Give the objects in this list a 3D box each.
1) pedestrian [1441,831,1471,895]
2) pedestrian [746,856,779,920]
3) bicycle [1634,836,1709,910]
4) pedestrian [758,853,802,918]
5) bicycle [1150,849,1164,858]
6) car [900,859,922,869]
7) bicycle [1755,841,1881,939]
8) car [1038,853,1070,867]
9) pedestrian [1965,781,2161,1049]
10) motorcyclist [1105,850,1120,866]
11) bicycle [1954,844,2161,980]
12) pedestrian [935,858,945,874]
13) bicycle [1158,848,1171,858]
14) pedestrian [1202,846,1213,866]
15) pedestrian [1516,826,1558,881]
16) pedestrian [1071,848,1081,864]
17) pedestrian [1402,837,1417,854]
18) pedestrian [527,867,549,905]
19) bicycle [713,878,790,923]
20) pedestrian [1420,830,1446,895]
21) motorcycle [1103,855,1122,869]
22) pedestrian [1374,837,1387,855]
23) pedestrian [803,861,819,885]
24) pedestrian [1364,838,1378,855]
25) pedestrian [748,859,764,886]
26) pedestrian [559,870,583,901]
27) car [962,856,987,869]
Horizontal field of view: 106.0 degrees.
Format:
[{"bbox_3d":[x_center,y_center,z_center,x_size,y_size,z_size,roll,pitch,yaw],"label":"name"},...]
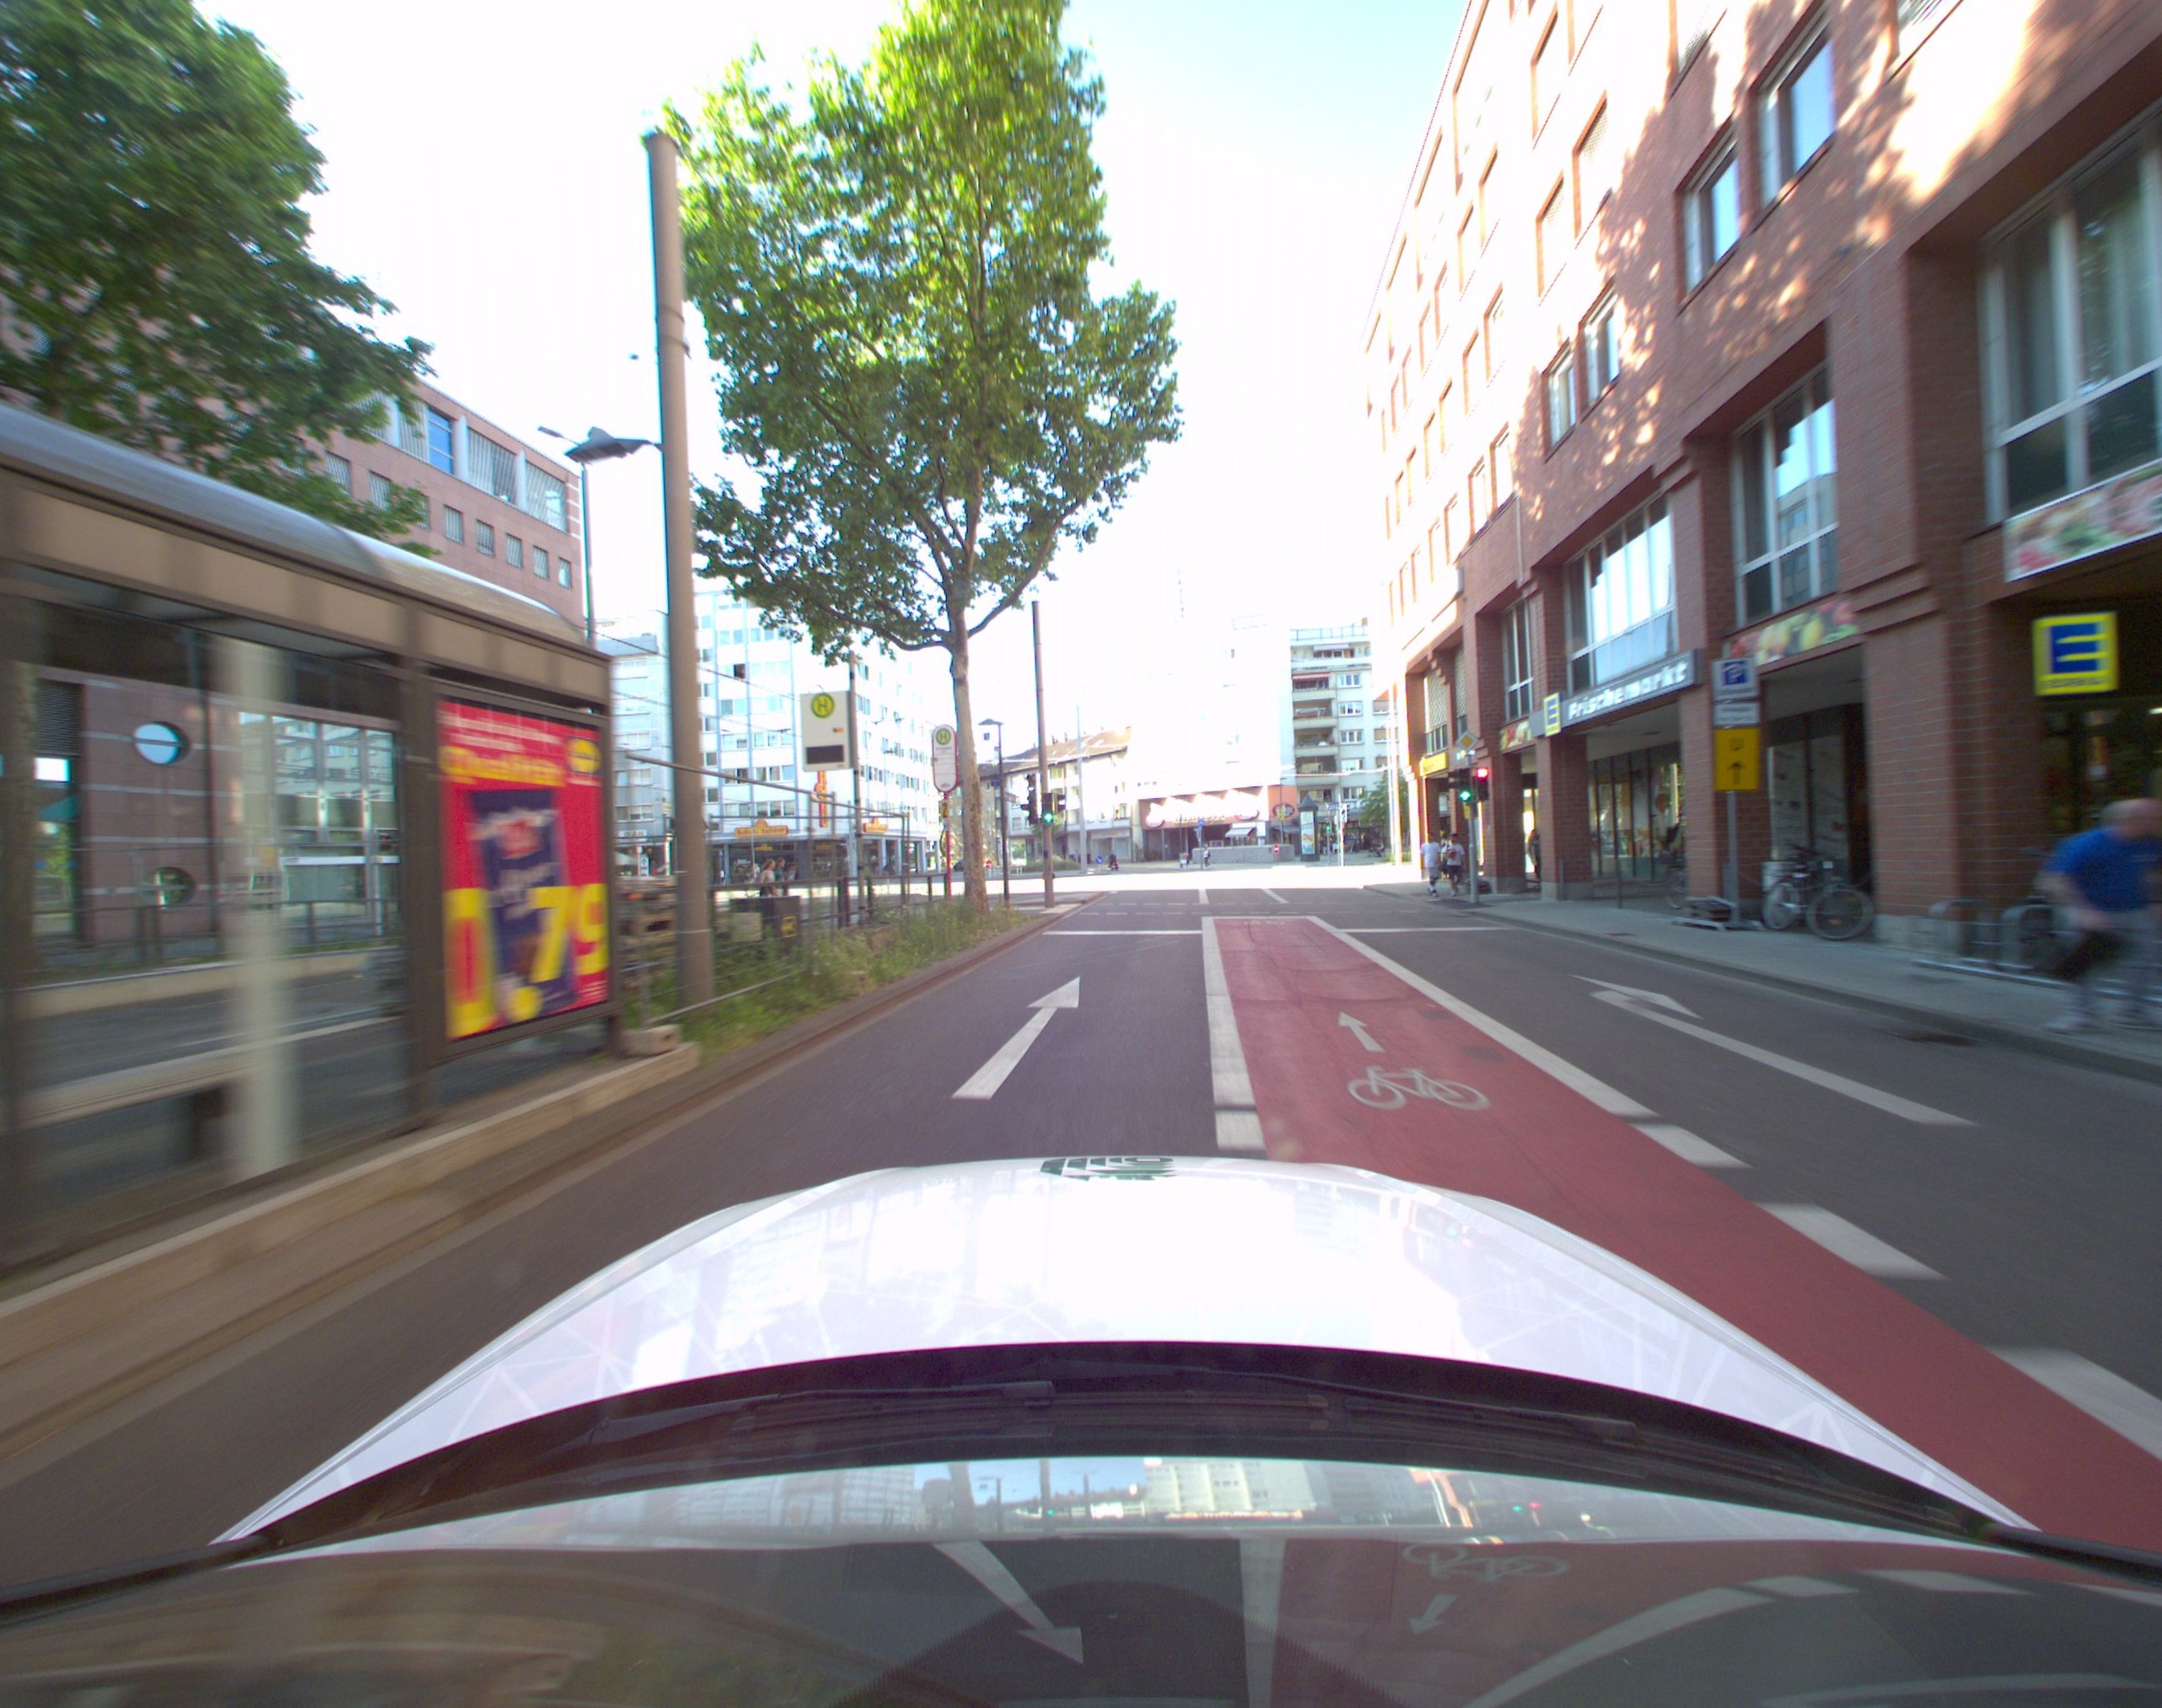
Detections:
[{"bbox_3d":[10.344,0.237,22.475,0.628,1.725,0.633,-2,0,16],"label":"pedestrian"},{"bbox_3d":[-8.533,0.906,21.812,0.563,1.680,0.532,-2,0,9],"label":"pedestrian"},{"bbox_3d":[10.734,0.319,14.857,0.337,1.256,1.715,-2,0,9],"label":"bicycle"},{"bbox_3d":[-8.344,0.858,22.605,0.774,1.734,0.850,-2,0,5],"label":"pedestrian"},{"bbox_3d":[8.488,-0.049,90.899,0.498,1.038,1.620,-2,0,-37],"label":"bicycle"},{"bbox_3d":[-28.654,1.689,136.974,2.049,1.504,4.047,-3,0,-37],"label":"car"},{"bbox_3d":[9.663,0.430,10.747,0.337,1.183,1.683,-2,0,9],"label":"bicycle"},{"bbox_3d":[-2.981,0.677,89.391,1.934,1.388,3.964,-2,0,-27],"label":"car"},{"bbox_3d":[7.076,0.380,5.800,0.874,1.696,1.206,-5,-1,44],"label":"pedestrian"},{"bbox_3d":[2.631,0.349,68.463,0.971,1.347,1.133,-1,0,-12],"label":"motorcyclist"},{"bbox_3d":[9.124,0.506,7.290,1.881,1.119,0.476,-3,0,7],"label":"bicycle"},{"bbox_3d":[-15.412,1.323,88.962,0.812,1.724,0.767,-1,-1,-40],"label":"pedestrian"},{"bbox_3d":[9.315,-0.098,91.124,0.498,1.038,1.620,-2,0,-37],"label":"bicycle"},{"bbox_3d":[10.010,0.161,64.543,0.543,1.583,0.551,-2,0,-35],"label":"pedestrian"},{"bbox_3d":[13.631,-0.025,24.350,0.849,1.589,0.747,-2,0,-32],"label":"pedestrian"},{"bbox_3d":[-0.589,0.221,96.544,0.737,1.854,0.937,-5,1,-37],"label":"pedestrian"},{"bbox_3d":[26.723,-0.663,66.178,0.716,1.364,1.108,-2,0,0],"label":"pedestrian"},{"bbox_3d":[-24.084,1.420,36.132,0.725,1.618,0.636,-2,0,-31],"label":"pedestrian"},{"bbox_3d":[-8.614,1.219,21.311,1.818,1.078,0.482,-2,0,8],"label":"bicycle"},{"bbox_3d":[9.891,0.224,22.902,0.473,1.792,0.542,-2,0,8],"label":"pedestrian"},{"bbox_3d":[2.651,0.658,68.462,0.974,1.132,2.793,-1,0,-12],"label":"motorcycle"},{"bbox_3d":[24.805,-0.673,67.424,0.711,1.420,0.935,-2,1,40],"label":"pedestrian"},{"bbox_3d":[-19.917,1.364,60.012,0.800,1.724,0.778,-2,0,8],"label":"pedestrian"},{"bbox_3d":[24.361,-0.629,68.418,0.712,1.446,0.935,-2,1,44],"label":"pedestrian"},{"bbox_3d":[-22.216,1.244,55.679,0.624,1.791,0.787,-2,0,9],"label":"pedestrian"},{"bbox_3d":[-28.602,1.773,45.675,0.896,1.665,0.889,-3,0,43],"label":"pedestrian"},{"bbox_3d":[-12.326,1.018,94.468,1.824,1.386,4.602,-3,-1,5],"label":"car"}]
